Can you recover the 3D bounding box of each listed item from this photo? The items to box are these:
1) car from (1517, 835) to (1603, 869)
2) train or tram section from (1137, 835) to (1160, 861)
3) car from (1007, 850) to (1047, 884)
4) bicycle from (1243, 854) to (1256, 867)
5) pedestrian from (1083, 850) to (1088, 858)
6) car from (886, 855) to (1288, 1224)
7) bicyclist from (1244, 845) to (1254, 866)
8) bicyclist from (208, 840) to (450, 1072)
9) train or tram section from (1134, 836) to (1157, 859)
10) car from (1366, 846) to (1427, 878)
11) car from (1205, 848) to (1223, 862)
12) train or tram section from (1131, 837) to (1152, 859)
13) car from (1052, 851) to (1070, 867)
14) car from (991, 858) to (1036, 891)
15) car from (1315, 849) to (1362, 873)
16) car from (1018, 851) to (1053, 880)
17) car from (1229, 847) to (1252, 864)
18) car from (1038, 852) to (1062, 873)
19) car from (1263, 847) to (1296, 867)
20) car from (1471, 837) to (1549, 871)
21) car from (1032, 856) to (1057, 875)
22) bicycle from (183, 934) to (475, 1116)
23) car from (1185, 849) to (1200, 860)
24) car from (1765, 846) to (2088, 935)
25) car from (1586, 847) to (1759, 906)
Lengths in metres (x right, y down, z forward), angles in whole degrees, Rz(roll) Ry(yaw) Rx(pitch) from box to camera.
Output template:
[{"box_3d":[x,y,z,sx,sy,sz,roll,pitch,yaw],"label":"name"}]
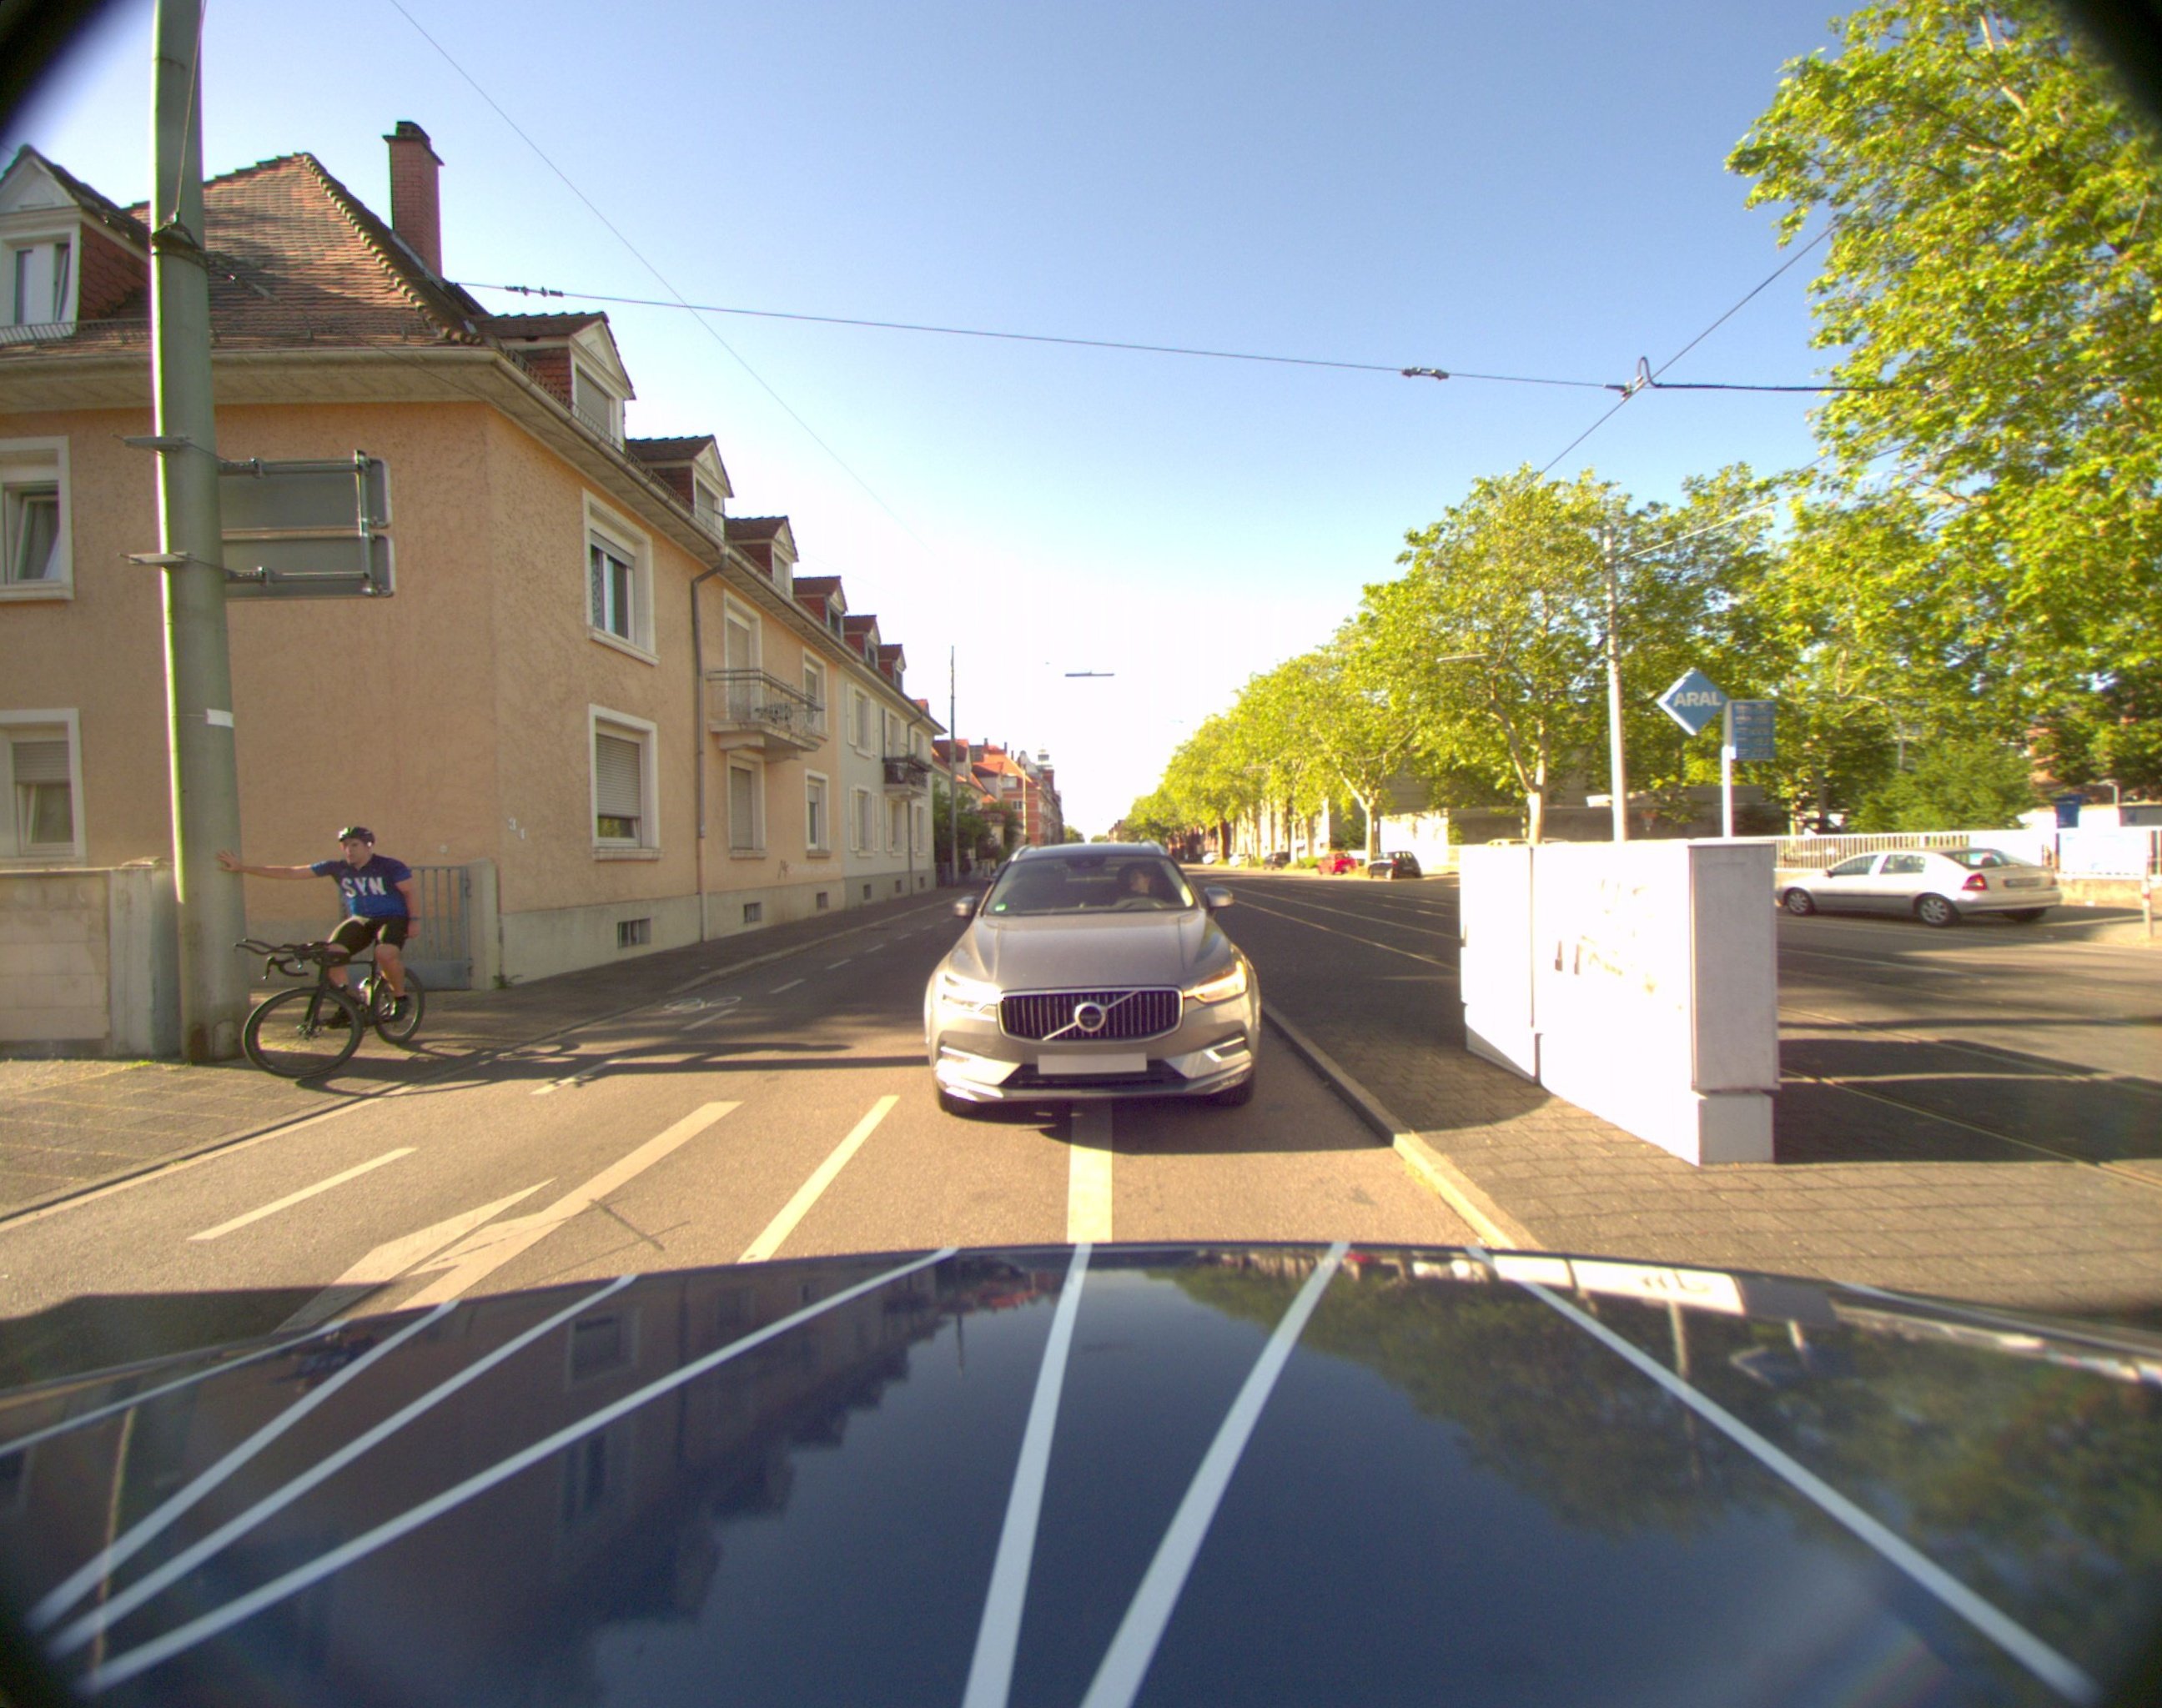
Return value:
[{"box_3d":[24.057,-0.112,38.335,1.845,1.524,4.000,-4,0,2],"label":"car"},{"box_3d":[9.700,-0.891,109.781,2.861,3.456,10.183,-2,1,3],"label":"train or tram section"},{"box_3d":[-2.951,0.688,42.238,1.847,1.742,4.144,-1,0,0],"label":"car"},{"box_3d":[15.199,0.604,68.563,0.654,1.114,2.533,-1,0,1],"label":"bicycle"},{"box_3d":[1.068,-0.062,189.245,1.104,2.002,1.242,-1,1,1],"label":"pedestrian"},{"box_3d":[0.011,0.890,5.789,1.892,1.695,4.318,-1,0,-1],"label":"car"},{"box_3d":[15.170,0.154,68.614,0.720,1.853,1.071,-1,1,0],"label":"bicyclist"},{"box_3d":[-6.160,0.787,6.288,1.071,1.728,0.853,4,1,1],"label":"bicyclist"},{"box_3d":[10.114,-1.058,119.943,2.843,3.456,10.182,-2,1,2],"label":"train or tram section"},{"box_3d":[16.981,0.408,41.086,1.845,1.524,4.001,-4,0,4],"label":"car"},{"box_3d":[17.616,0.076,100.906,1.845,1.664,4.098,-4,0,3],"label":"car"},{"box_3d":[10.296,-1.052,130.159,2.843,3.456,10.182,-2,1,1],"label":"train or tram section"},{"box_3d":[-2.224,0.553,85.485,1.999,1.641,4.658,-1,0,-1],"label":"car"},{"box_3d":[-3.215,0.948,36.978,1.847,1.412,3.999,-1,0,-1],"label":"car"},{"box_3d":[16.977,0.445,50.310,1.845,1.400,4.001,-4,0,3],"label":"car"},{"box_3d":[-2.774,0.670,46.791,1.847,1.681,4.000,-1,0,0],"label":"car"},{"box_3d":[17.509,0.117,83.543,1.845,1.664,4.098,-4,0,3],"label":"car"},{"box_3d":[-2.658,0.697,65.771,1.847,1.681,4.000,-1,0,0],"label":"car"},{"box_3d":[17.186,0.224,65.895,1.845,1.607,4.098,-4,0,3],"label":"car"},{"box_3d":[21.763,-0.028,38.713,1.845,1.524,4.001,-4,0,4],"label":"car"},{"box_3d":[-2.862,0.862,60.407,1.808,1.402,3.999,-1,0,-1],"label":"car"},{"box_3d":[-5.918,1.278,6.144,0.594,1.045,1.719,4,1,1],"label":"bicycle"},{"box_3d":[18.393,-0.007,125.409,1.845,1.664,4.098,-4,0,3],"label":"car"},{"box_3d":[16.247,0.616,14.976,1.846,1.400,3.999,-4,0,-1],"label":"car"},{"box_3d":[16.529,0.567,21.549,1.845,1.400,4.138,-4,0,4],"label":"car"}]
